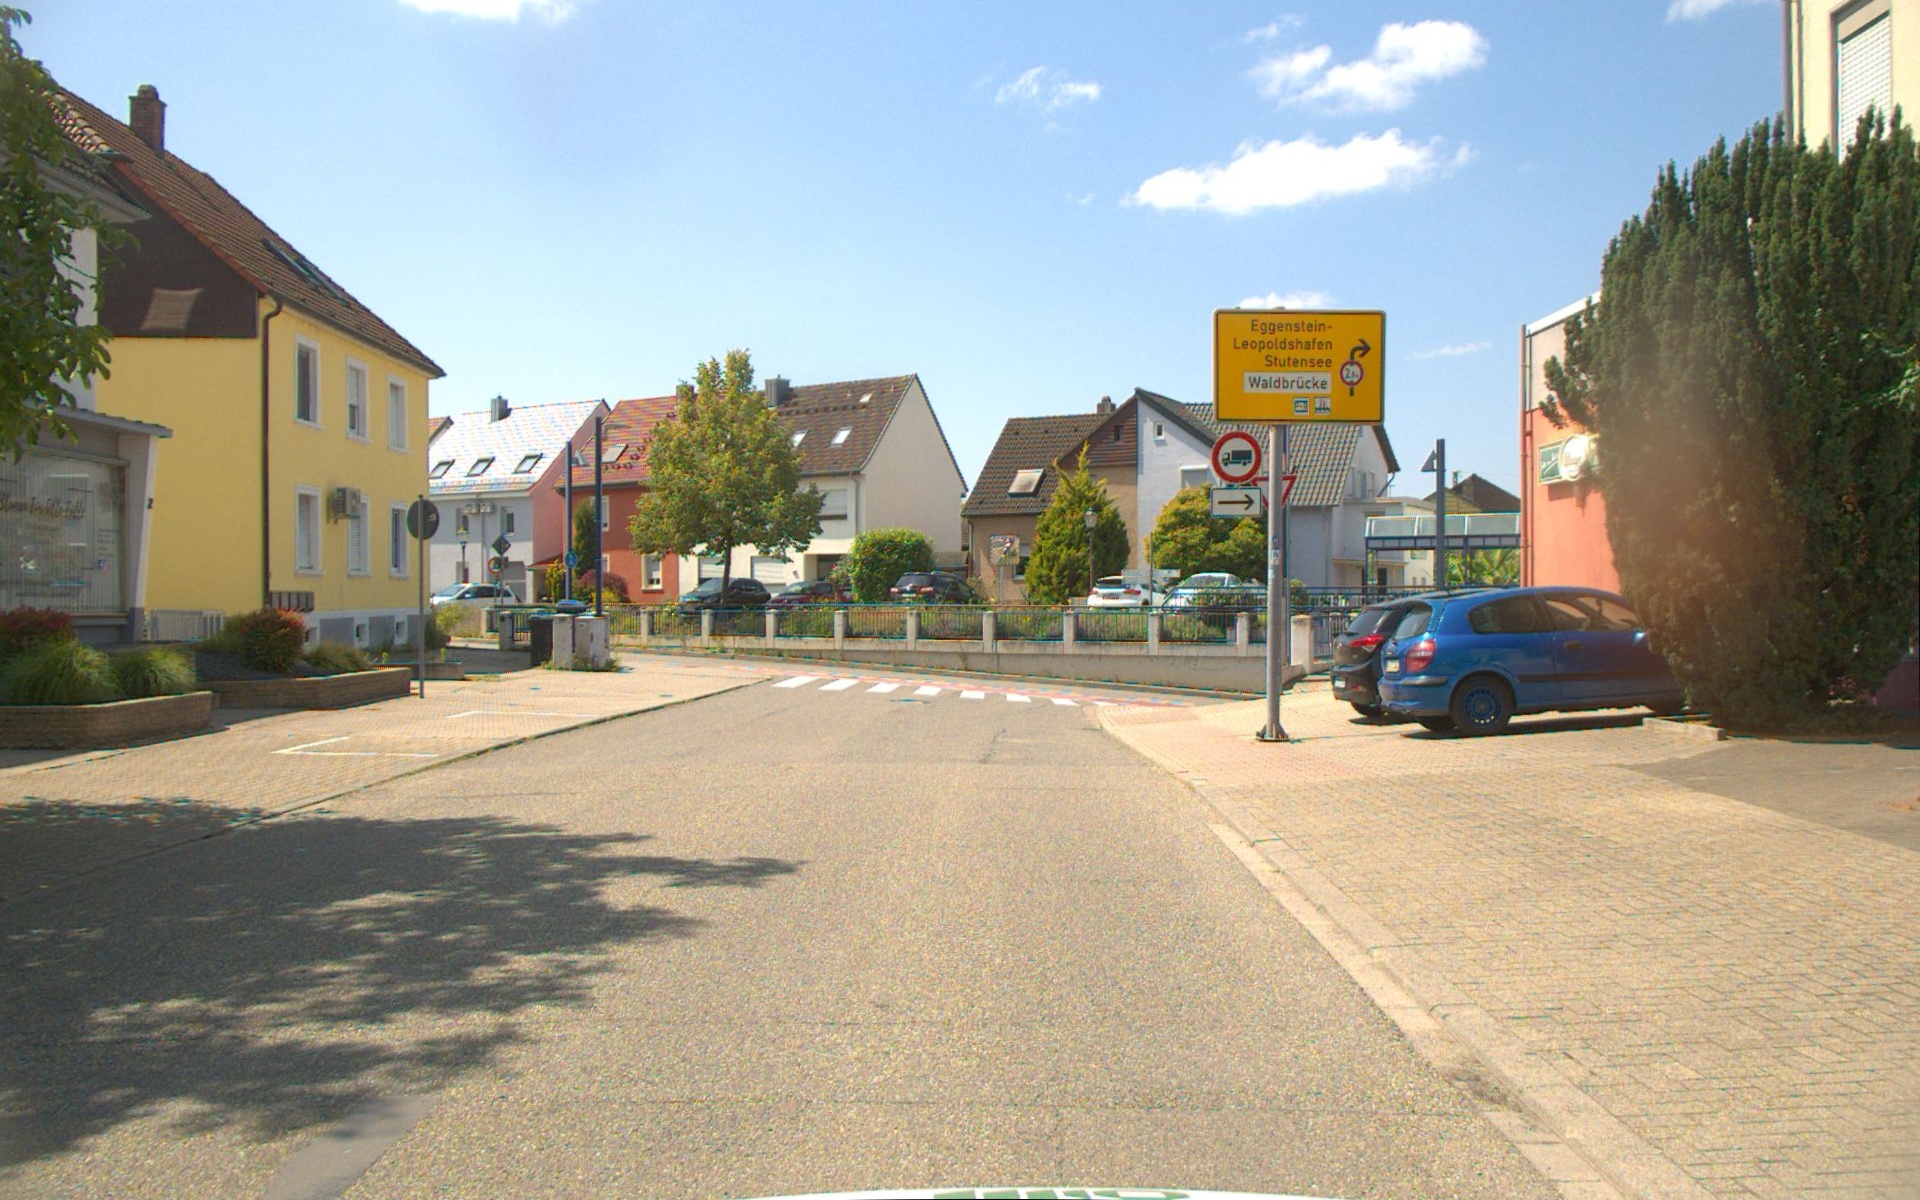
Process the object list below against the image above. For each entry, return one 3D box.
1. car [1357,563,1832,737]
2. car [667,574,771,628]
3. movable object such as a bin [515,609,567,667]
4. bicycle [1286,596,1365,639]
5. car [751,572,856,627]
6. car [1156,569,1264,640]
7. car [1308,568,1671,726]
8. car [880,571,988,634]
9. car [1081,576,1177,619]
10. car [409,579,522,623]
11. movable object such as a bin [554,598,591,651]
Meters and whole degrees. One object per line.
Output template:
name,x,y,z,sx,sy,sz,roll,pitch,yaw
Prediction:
car,6.547,0.537,17.391,4.235,1.465,1.779,-4,-3,-1
car,-8.472,0.054,58.333,1.831,1.614,3.606,4,-1,26
movable object such as a bin,-9.194,0.824,36.296,0.866,1.247,0.902,1,-1,2
bicycle,9.947,0.475,44.991,2.071,1.145,0.333,1,0,20
car,-5.292,0.003,56.328,1.831,1.614,3.606,4,-1,26
car,7.558,0.161,49.667,1.955,1.828,4.192,4,-1,26
car,6.519,0.580,20.656,3.818,1.516,1.809,-6,-1,-2
car,-0.810,0.107,54.353,1.831,1.828,3.996,4,-1,26
car,5.211,-0.060,50.770,1.790,1.037,3.455,4,0,26
car,-20.080,0.064,67.326,1.711,1.514,4.244,4,-1,32
movable object such as a bin,-9.286,0.576,39.664,0.825,1.235,1.272,1,-1,-12
